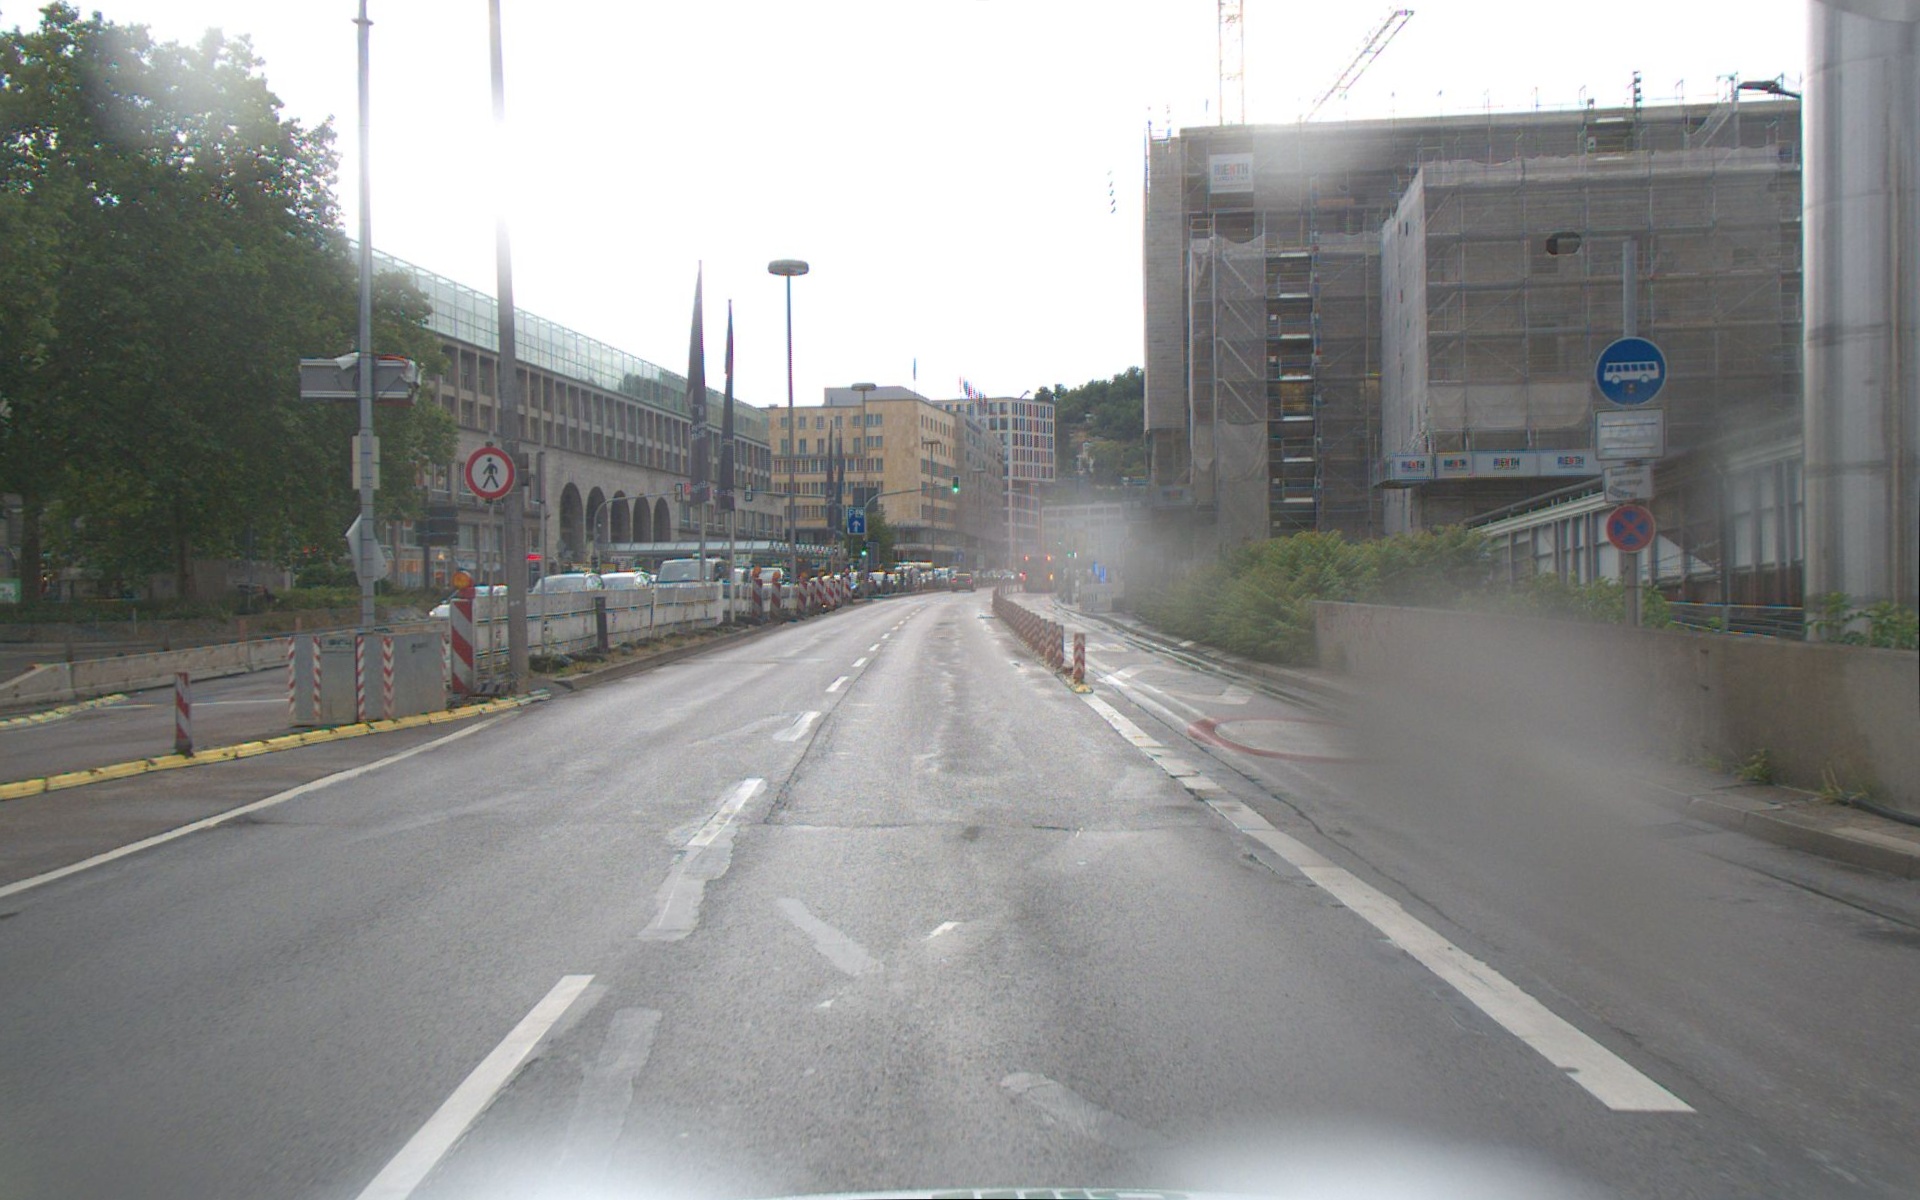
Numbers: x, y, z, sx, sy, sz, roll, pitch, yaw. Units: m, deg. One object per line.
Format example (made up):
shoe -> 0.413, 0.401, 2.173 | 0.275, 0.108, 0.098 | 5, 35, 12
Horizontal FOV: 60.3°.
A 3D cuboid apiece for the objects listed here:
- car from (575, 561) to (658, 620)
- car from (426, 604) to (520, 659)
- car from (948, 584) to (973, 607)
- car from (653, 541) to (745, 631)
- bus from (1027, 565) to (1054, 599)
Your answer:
car -> -10.940, -0.270, 52.942 | 1.864, 1.555, 4.175 | -3, -3, -2
car -> -15.628, 1.050, 53.244 | 1.864, 1.555, 4.175 | -3, -3, -2
car -> 0.006, -0.386, 134.532 | 1.864, 1.555, 4.175 | -3, -3, -2
car -> -7.019, -0.322, 44.810 | 1.864, 2.119, 4.175 | -3, -3, -2
bus -> 6.764, -1.494, 138.802 | 1.951, 2.474, 4.002 | -3, -3, 6
